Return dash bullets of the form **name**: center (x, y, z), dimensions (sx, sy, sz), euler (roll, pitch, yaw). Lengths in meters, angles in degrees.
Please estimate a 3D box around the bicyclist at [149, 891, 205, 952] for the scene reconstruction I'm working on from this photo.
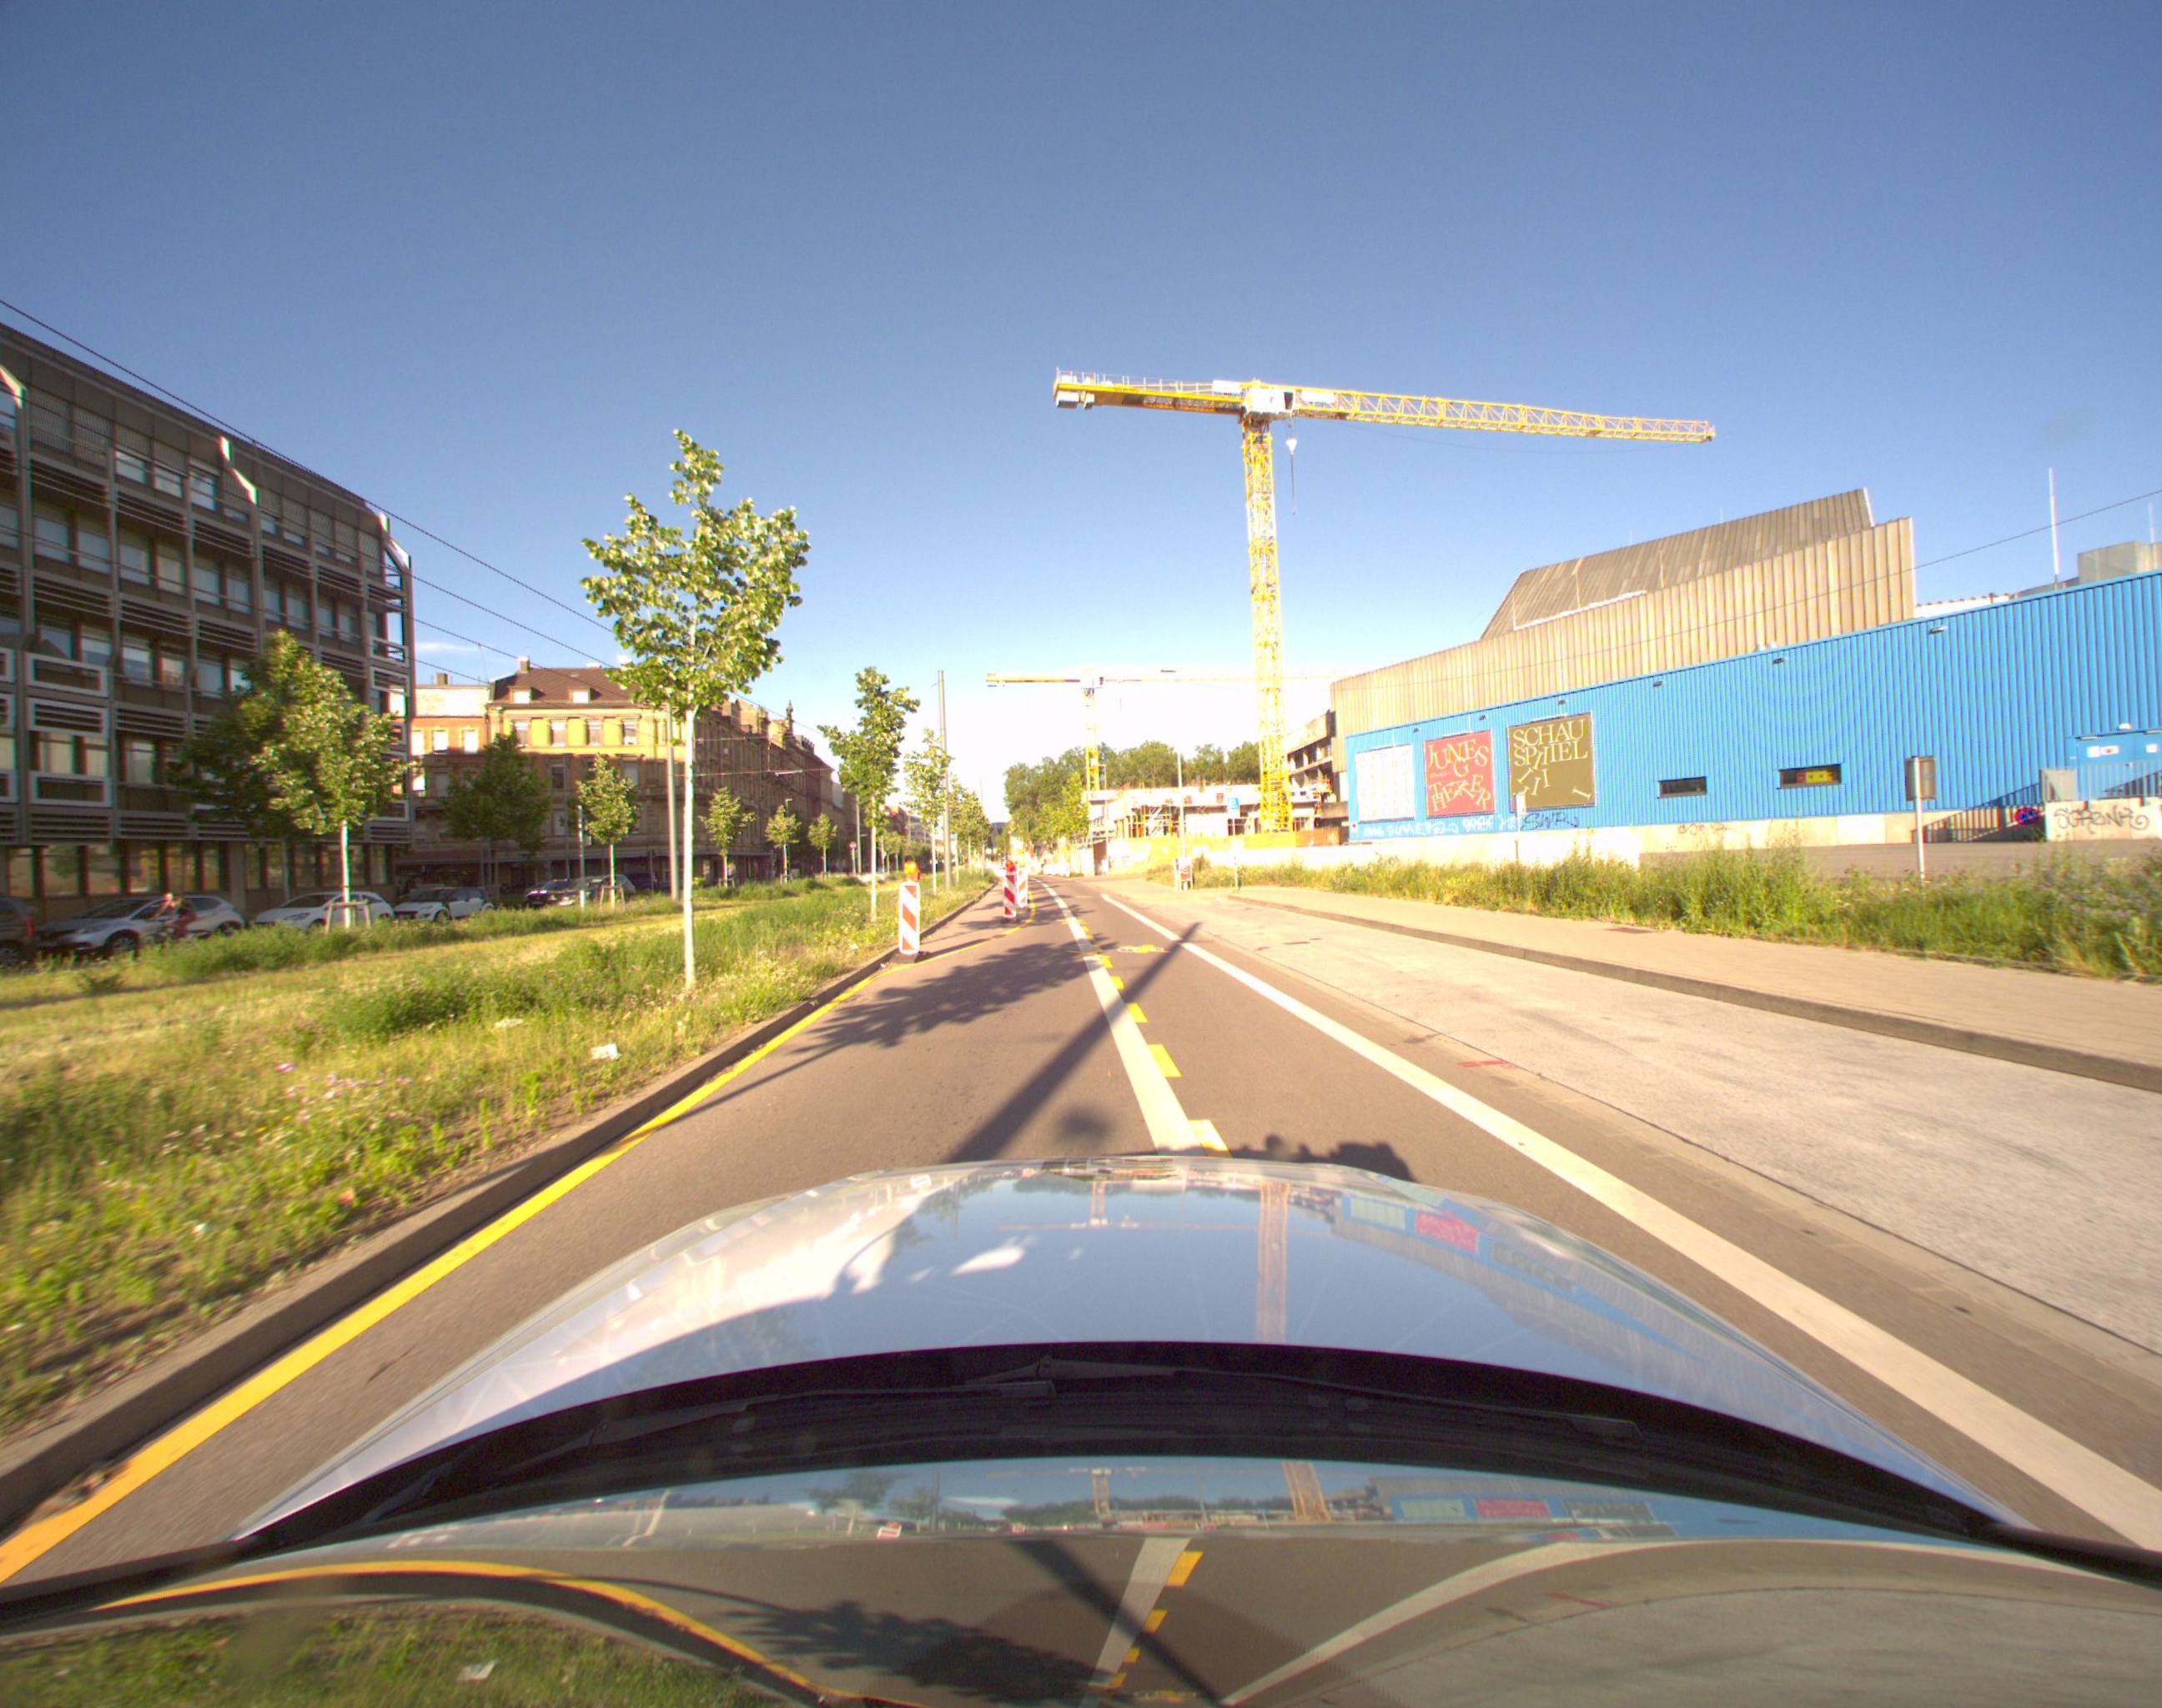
- **bicyclist**: center (-23.064, 1.709, 20.779), dimensions (0.563, 1.457, 0.705), euler (-3, 0, -2)

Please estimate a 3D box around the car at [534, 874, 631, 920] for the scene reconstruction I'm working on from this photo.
- **car**: center (-21.489, 1.789, 35.302), dimensions (1.724, 1.746, 4.117), euler (-2, 0, -2)

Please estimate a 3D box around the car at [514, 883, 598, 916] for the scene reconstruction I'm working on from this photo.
- **car**: center (-26.466, 2.269, 41.216), dimensions (1.724, 1.461, 3.900), euler (0, 0, 0)

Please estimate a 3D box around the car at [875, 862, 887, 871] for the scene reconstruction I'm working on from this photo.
- **car**: center (-37.881, 2.357, 154.286), dimensions (1.566, 1.562, 4.700), euler (-2, 0, -8)

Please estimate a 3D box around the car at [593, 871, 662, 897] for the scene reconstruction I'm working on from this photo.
- **car**: center (-37.293, 2.446, 67.063), dimensions (4.514, 1.903, 1.890), euler (-3, 0, -13)

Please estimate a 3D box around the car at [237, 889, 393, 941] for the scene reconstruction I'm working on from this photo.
- **car**: center (-25.568, 2.004, 27.386), dimensions (1.619, 1.441, 3.818), euler (-1, 0, 0)

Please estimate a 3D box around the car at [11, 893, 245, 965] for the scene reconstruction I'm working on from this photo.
- **car**: center (-25.509, 1.947, 22.041), dimensions (1.732, 1.536, 3.883), euler (-2, 0, 0)

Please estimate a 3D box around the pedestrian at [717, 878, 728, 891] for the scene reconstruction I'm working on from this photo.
- **pedestrian**: center (-33.728, 2.863, 76.600), dimensions (0.689, 1.246, 0.927), euler (-2, -1, -7)

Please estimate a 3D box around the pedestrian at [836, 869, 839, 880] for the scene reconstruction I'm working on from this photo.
- **pedestrian**: center (-39.052, 3.246, 130.598), dimensions (0.366, 1.765, 0.405), euler (0, -1, -8)

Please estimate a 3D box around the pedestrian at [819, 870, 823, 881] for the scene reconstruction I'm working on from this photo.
- **pedestrian**: center (-37.927, 3.074, 118.809), dimensions (0.403, 1.585, 0.424), euler (0, -1, -8)

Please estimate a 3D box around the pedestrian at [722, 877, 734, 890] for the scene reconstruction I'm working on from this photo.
- **pedestrian**: center (-34.040, 2.877, 78.526), dimensions (0.790, 1.208, 0.927), euler (-2, -1, -7)

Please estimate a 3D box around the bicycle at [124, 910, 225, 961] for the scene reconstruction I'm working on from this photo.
- **bicycle**: center (-23.068, 2.042, 20.768), dimensions (0.563, 1.096, 1.770), euler (-3, 0, -1)

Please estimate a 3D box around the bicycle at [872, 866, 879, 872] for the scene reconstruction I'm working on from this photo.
- **bicycle**: center (-32.288, 2.366, 127.963), dimensions (0.636, 0.857, 2.026), euler (-2, 0, -7)

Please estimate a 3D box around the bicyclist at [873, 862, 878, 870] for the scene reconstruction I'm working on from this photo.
- **bicyclist**: center (-32.290, 1.814, 127.878), dimensions (0.636, 1.239, 0.737), euler (-2, -1, -7)

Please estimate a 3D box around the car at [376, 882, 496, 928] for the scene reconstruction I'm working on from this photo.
- **car**: center (-26.003, 2.017, 33.013), dimensions (1.644, 1.554, 3.966), euler (-2, 0, 0)

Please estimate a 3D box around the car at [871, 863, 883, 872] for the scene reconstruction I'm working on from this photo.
- **car**: center (-36.430, 2.364, 145.768), dimensions (1.565, 1.562, 4.701), euler (-2, 0, -8)

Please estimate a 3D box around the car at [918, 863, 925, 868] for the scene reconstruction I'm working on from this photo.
- **car**: center (-44.217, 3.184, 225.499), dimensions (1.593, 1.483, 3.615), euler (-2, 0, -6)

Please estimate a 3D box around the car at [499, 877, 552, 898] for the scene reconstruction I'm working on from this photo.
- **car**: center (-44.582, 2.650, 65.421), dimensions (3.147, 1.468, 1.378), euler (-3, 0, -13)

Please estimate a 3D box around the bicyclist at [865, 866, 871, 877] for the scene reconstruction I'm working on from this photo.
- **bicyclist**: center (-30.761, 2.517, 117.831), dimensions (0.694, 1.657, 0.880), euler (-2, -1, -7)

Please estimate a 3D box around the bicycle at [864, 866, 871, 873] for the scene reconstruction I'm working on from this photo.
- **bicycle**: center (-30.722, 2.222, 117.359), dimensions (0.694, 0.978, 1.822), euler (-2, -1, -7)

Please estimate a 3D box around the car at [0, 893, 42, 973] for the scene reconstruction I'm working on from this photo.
- **car**: center (-25.460, 1.837, 17.082), dimensions (1.745, 1.771, 4.330), euler (-1, 0, 0)
